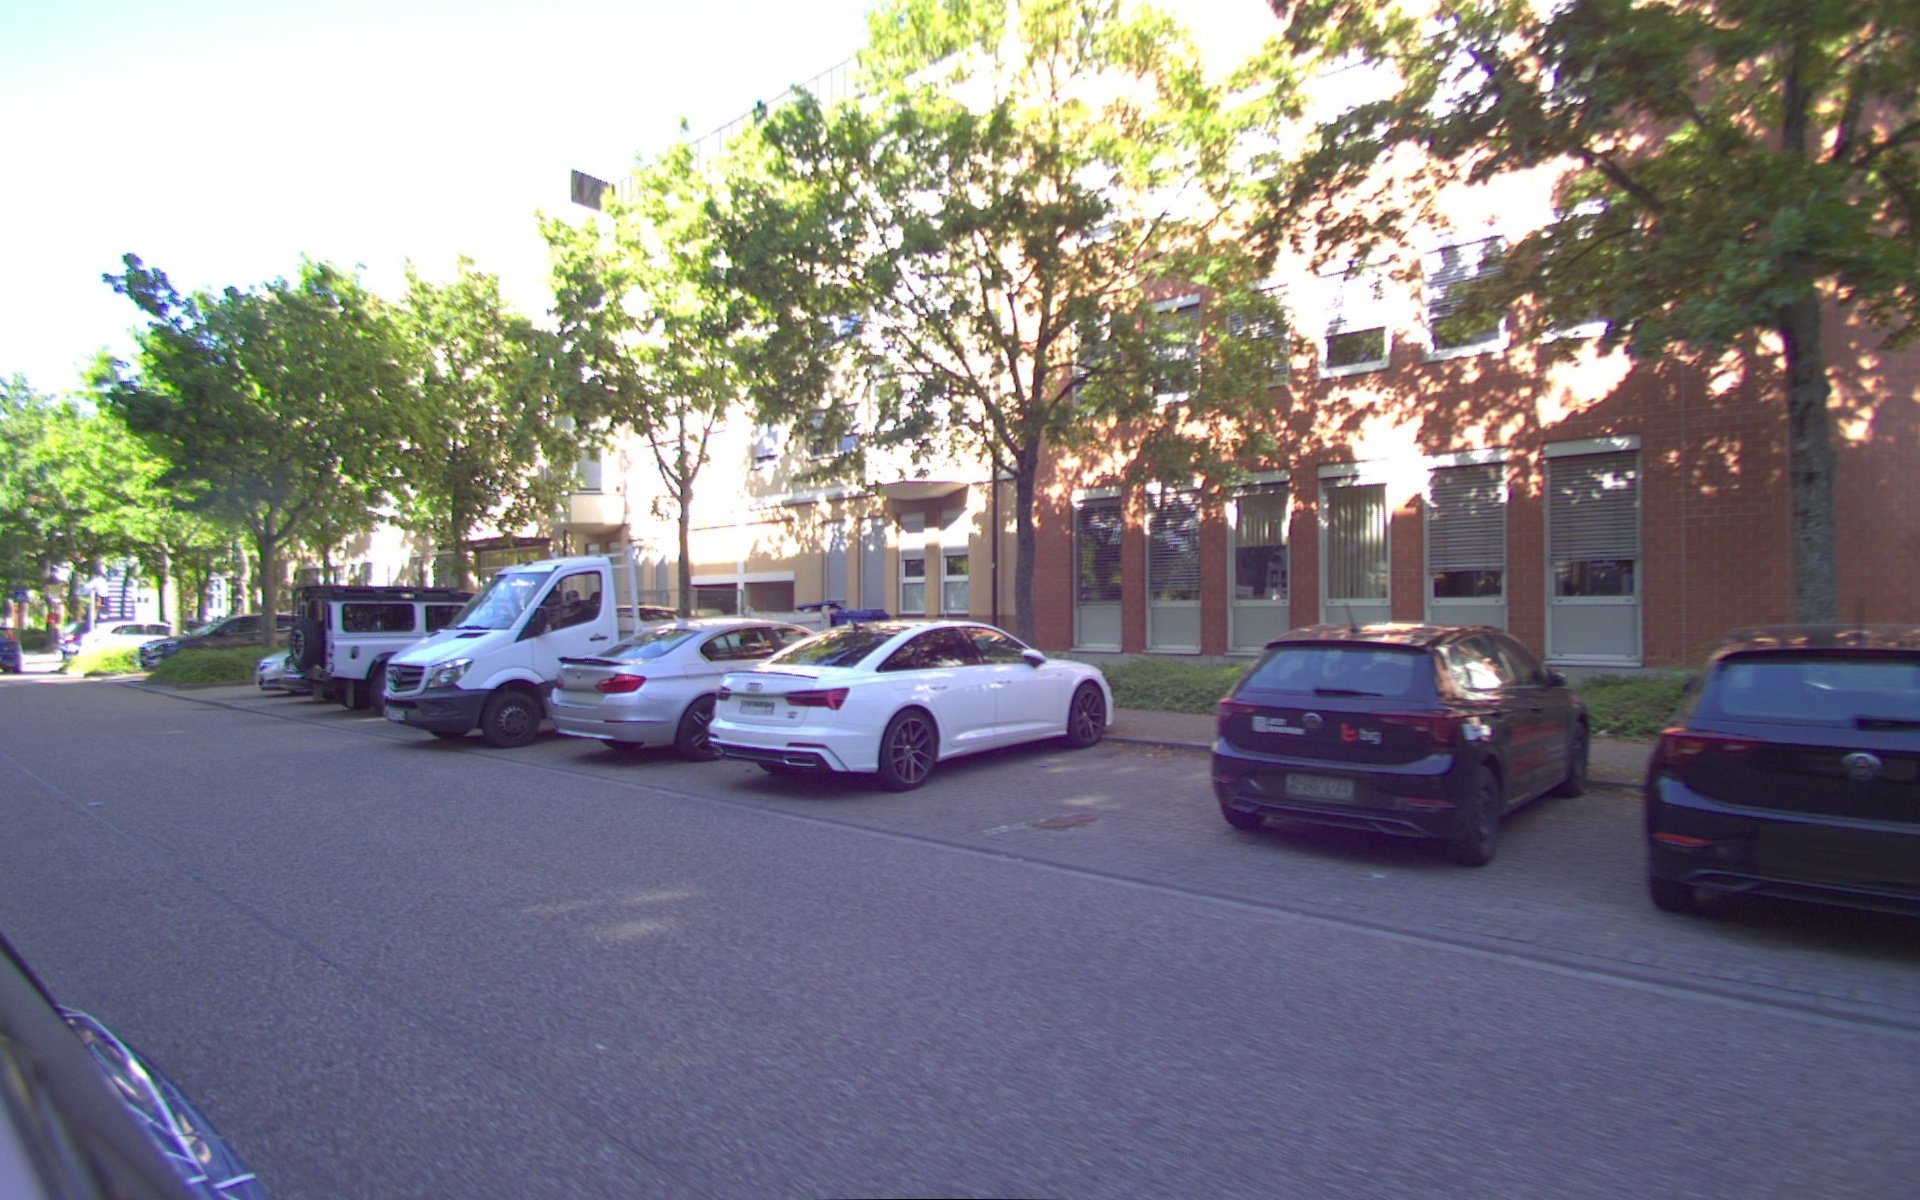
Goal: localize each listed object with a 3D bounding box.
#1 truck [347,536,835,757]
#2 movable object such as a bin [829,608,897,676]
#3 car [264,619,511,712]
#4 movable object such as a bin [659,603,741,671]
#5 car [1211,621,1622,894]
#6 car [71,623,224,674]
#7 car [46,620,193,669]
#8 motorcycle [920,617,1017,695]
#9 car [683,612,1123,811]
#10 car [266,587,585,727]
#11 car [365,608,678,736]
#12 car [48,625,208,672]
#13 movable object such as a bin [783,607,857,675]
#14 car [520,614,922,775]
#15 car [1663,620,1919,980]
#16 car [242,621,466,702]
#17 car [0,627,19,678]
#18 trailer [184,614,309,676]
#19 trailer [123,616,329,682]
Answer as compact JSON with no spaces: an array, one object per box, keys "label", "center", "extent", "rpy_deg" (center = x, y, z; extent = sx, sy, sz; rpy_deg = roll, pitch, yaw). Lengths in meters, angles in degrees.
[{"label":"truck","center":[-4.793,0.594,14.225],"extent":[2.186,2.440,6.167],"rpy_deg":[-2,-2,41]},{"label":"movable object such as a bin","center":[-2.347,1.009,24.514],"extent":[1.239,1.575,1.137],"rpy_deg":[-1,-2,29]},{"label":"car","center":[-10.907,1.174,19.444],"extent":[1.832,1.504,3.738],"rpy_deg":[-2,-1,42]},{"label":"movable object such as a bin","center":[-7.285,1.022,28.329],"extent":[1.664,1.810,1.581],"rpy_deg":[-2,-2,43]},{"label":"car","center":[3.546,0.893,7.455],"extent":[1.721,1.446,3.946],"rpy_deg":[-2,-2,40]},{"label":"car","center":[-27.125,1.572,33.861],"extent":[1.753,1.463,3.716],"rpy_deg":[-2,0,40]},{"label":"car","center":[-31.158,1.602,37.590],"extent":[1.727,1.582,3.947],"rpy_deg":[-2,0,40]},{"label":"motorcycle","center":[0.154,1.172,21.587],"extent":[2.107,1.603,0.707],"rpy_deg":[-2,-2,39]},{"label":"car","center":[-0.326,0.921,10.212],"extent":[1.888,1.453,4.496],"rpy_deg":[-3,-1,39]},{"label":"car","center":[-9.027,0.841,17.426],"extent":[1.998,2.067,4.438],"rpy_deg":[-1,0,39]},{"label":"car","center":[-6.766,0.999,15.929],"extent":[1.999,1.674,4.065],"rpy_deg":[-1,0,41]},{"label":"car","center":[-29.340,1.673,35.780],"extent":[1.799,1.413,4.109],"rpy_deg":[-2,0,40]},{"label":"movable object such as a bin","center":[-3.485,1.019,25.165],"extent":[1.435,1.632,1.137],"rpy_deg":[-1,-2,29]},{"label":"car","center":[-2.655,0.955,12.124],"extent":[1.998,1.498,4.383],"rpy_deg":[-2,-1,39]},{"label":"car","center":[5.143,0.840,5.645],"extent":[1.787,1.446,3.949],"rpy_deg":[-1,-2,38]},{"label":"car","center":[-12.831,1.238,21.566],"extent":[1.733,1.472,3.792],"rpy_deg":[-2,-1,44]},{"label":"car","center":[-28.883,1.517,29.551],"extent":[3.997,1.431,1.627],"rpy_deg":[-2,-2,41]},{"label":"trailer","center":[-21.158,1.295,30.041],"extent":[1.711,1.700,2.697],"rpy_deg":[-2,-1,41]},{"label":"trailer","center":[-19.966,1.278,27.678],"extent":[1.853,1.584,4.221],"rpy_deg":[-1,0,37]}]
